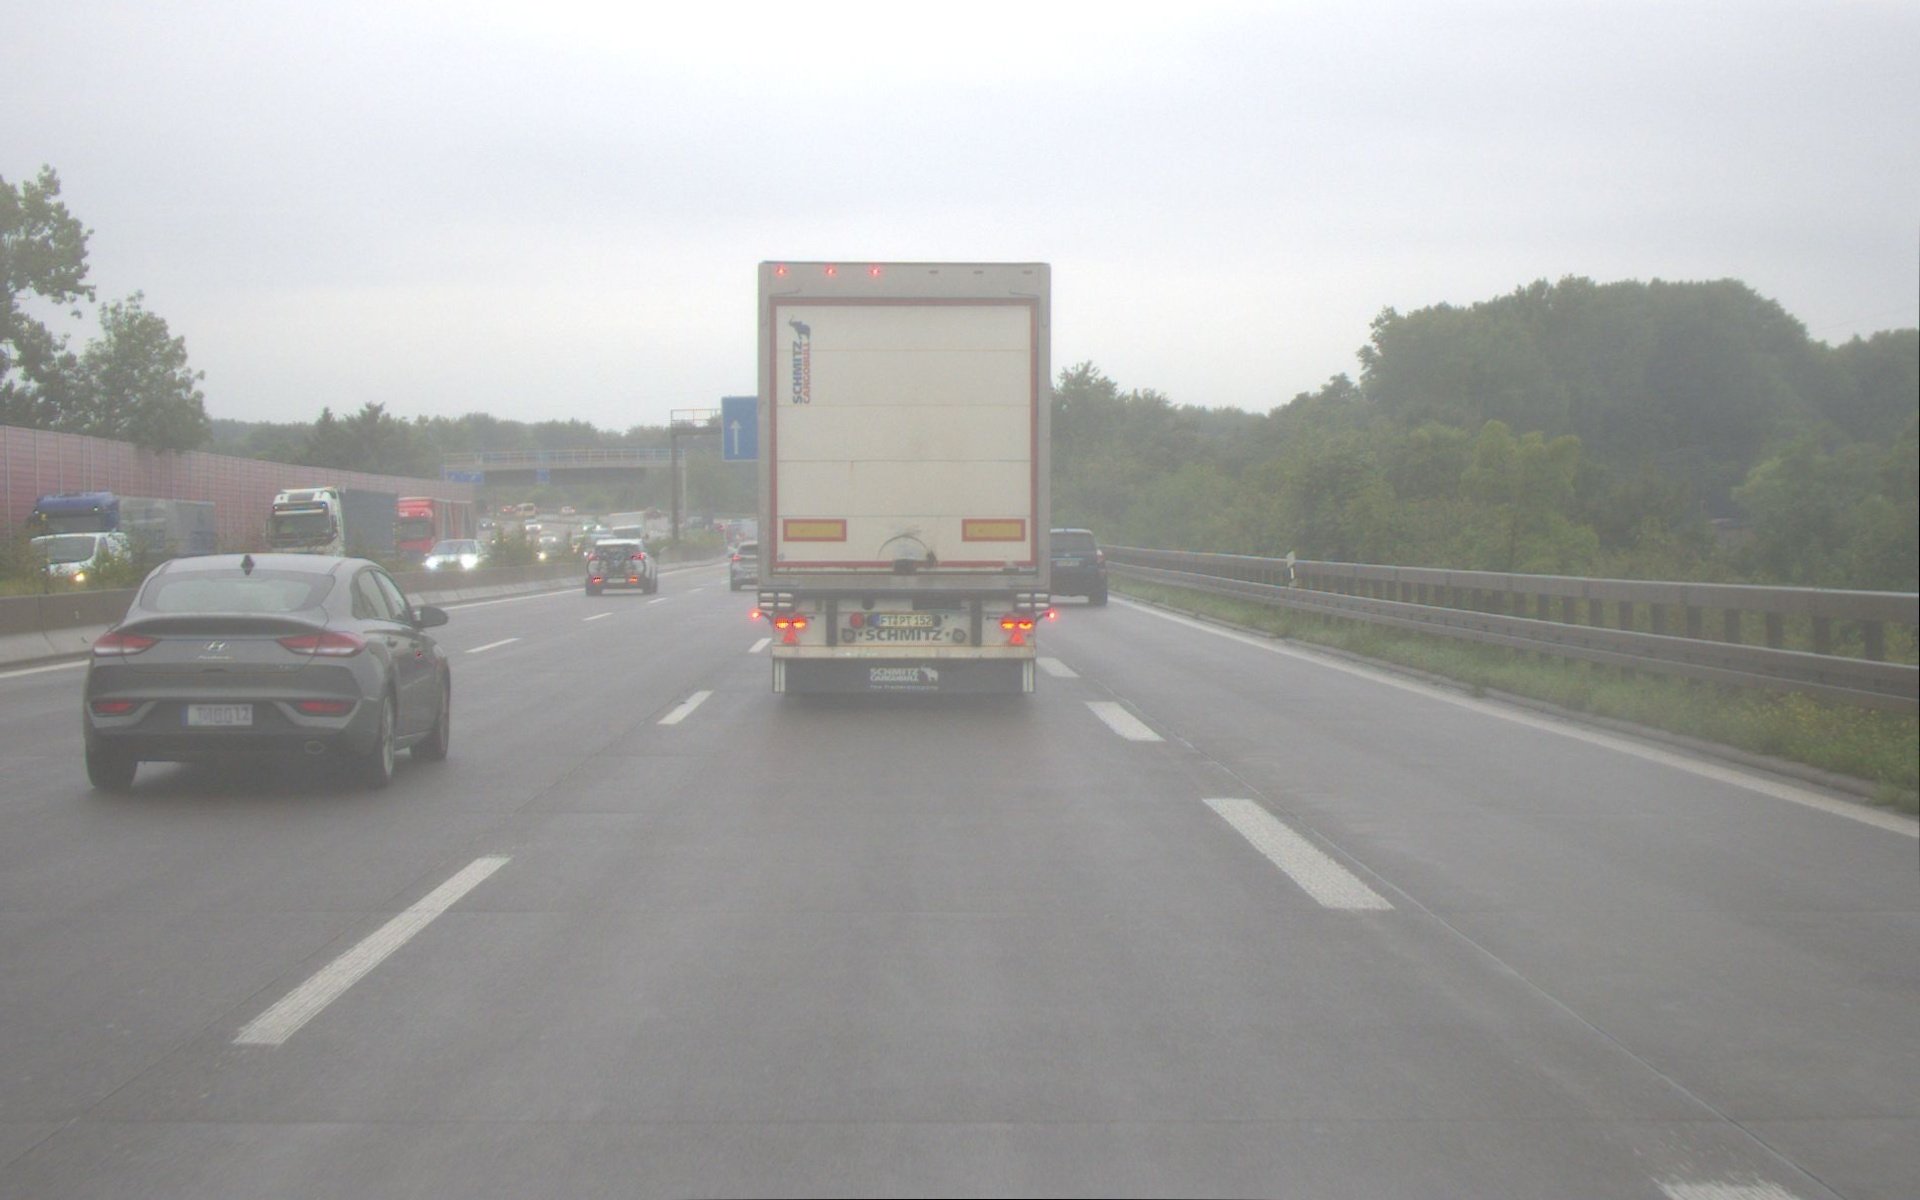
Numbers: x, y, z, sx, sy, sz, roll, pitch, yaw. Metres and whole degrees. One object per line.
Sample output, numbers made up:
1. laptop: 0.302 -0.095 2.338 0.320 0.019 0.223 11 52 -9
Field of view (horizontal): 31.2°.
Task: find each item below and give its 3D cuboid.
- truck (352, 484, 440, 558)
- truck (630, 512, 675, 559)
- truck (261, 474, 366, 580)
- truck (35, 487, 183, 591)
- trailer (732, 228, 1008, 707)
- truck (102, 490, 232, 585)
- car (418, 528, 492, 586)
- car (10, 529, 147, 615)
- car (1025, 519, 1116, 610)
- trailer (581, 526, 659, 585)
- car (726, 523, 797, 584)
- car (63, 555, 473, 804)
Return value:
1. truck: -27.194 -3.813 166.241 2.780 3.478 10.619 0 1 -2
2. truck: -19.125 -4.027 214.163 2.266 2.819 7.280 1 1 -2
3. truck: -25.287 -2.857 134.712 3.046 4.014 6.052 1 1 -2
4. truck: -28.888 -2.103 117.202 2.712 3.339 10.433 1 1 -2
5. trailer: -0.895 -1.366 37.439 2.342 4.143 14.828 1 2 -1
6. truck: -29.156 -2.301 126.782 2.972 3.339 8.701 1 1 -2
7. car: -17.787 -1.542 121.187 1.993 2.007 4.792 0 1 -1
8. car: -21.147 -0.704 82.681 1.993 2.007 5.134 0 1 0
9. car: 2.421 -0.806 76.204 1.897 1.943 4.000 1 1 0
10. trailer: -9.571 -1.278 97.100 1.815 1.619 4.568 0 1 -1
11. car: -5.824 -1.376 101.134 1.894 1.717 4.000 1 1 -1
12. car: -4.284 0.422 22.002 1.725 1.398 4.829 0 1 -1
